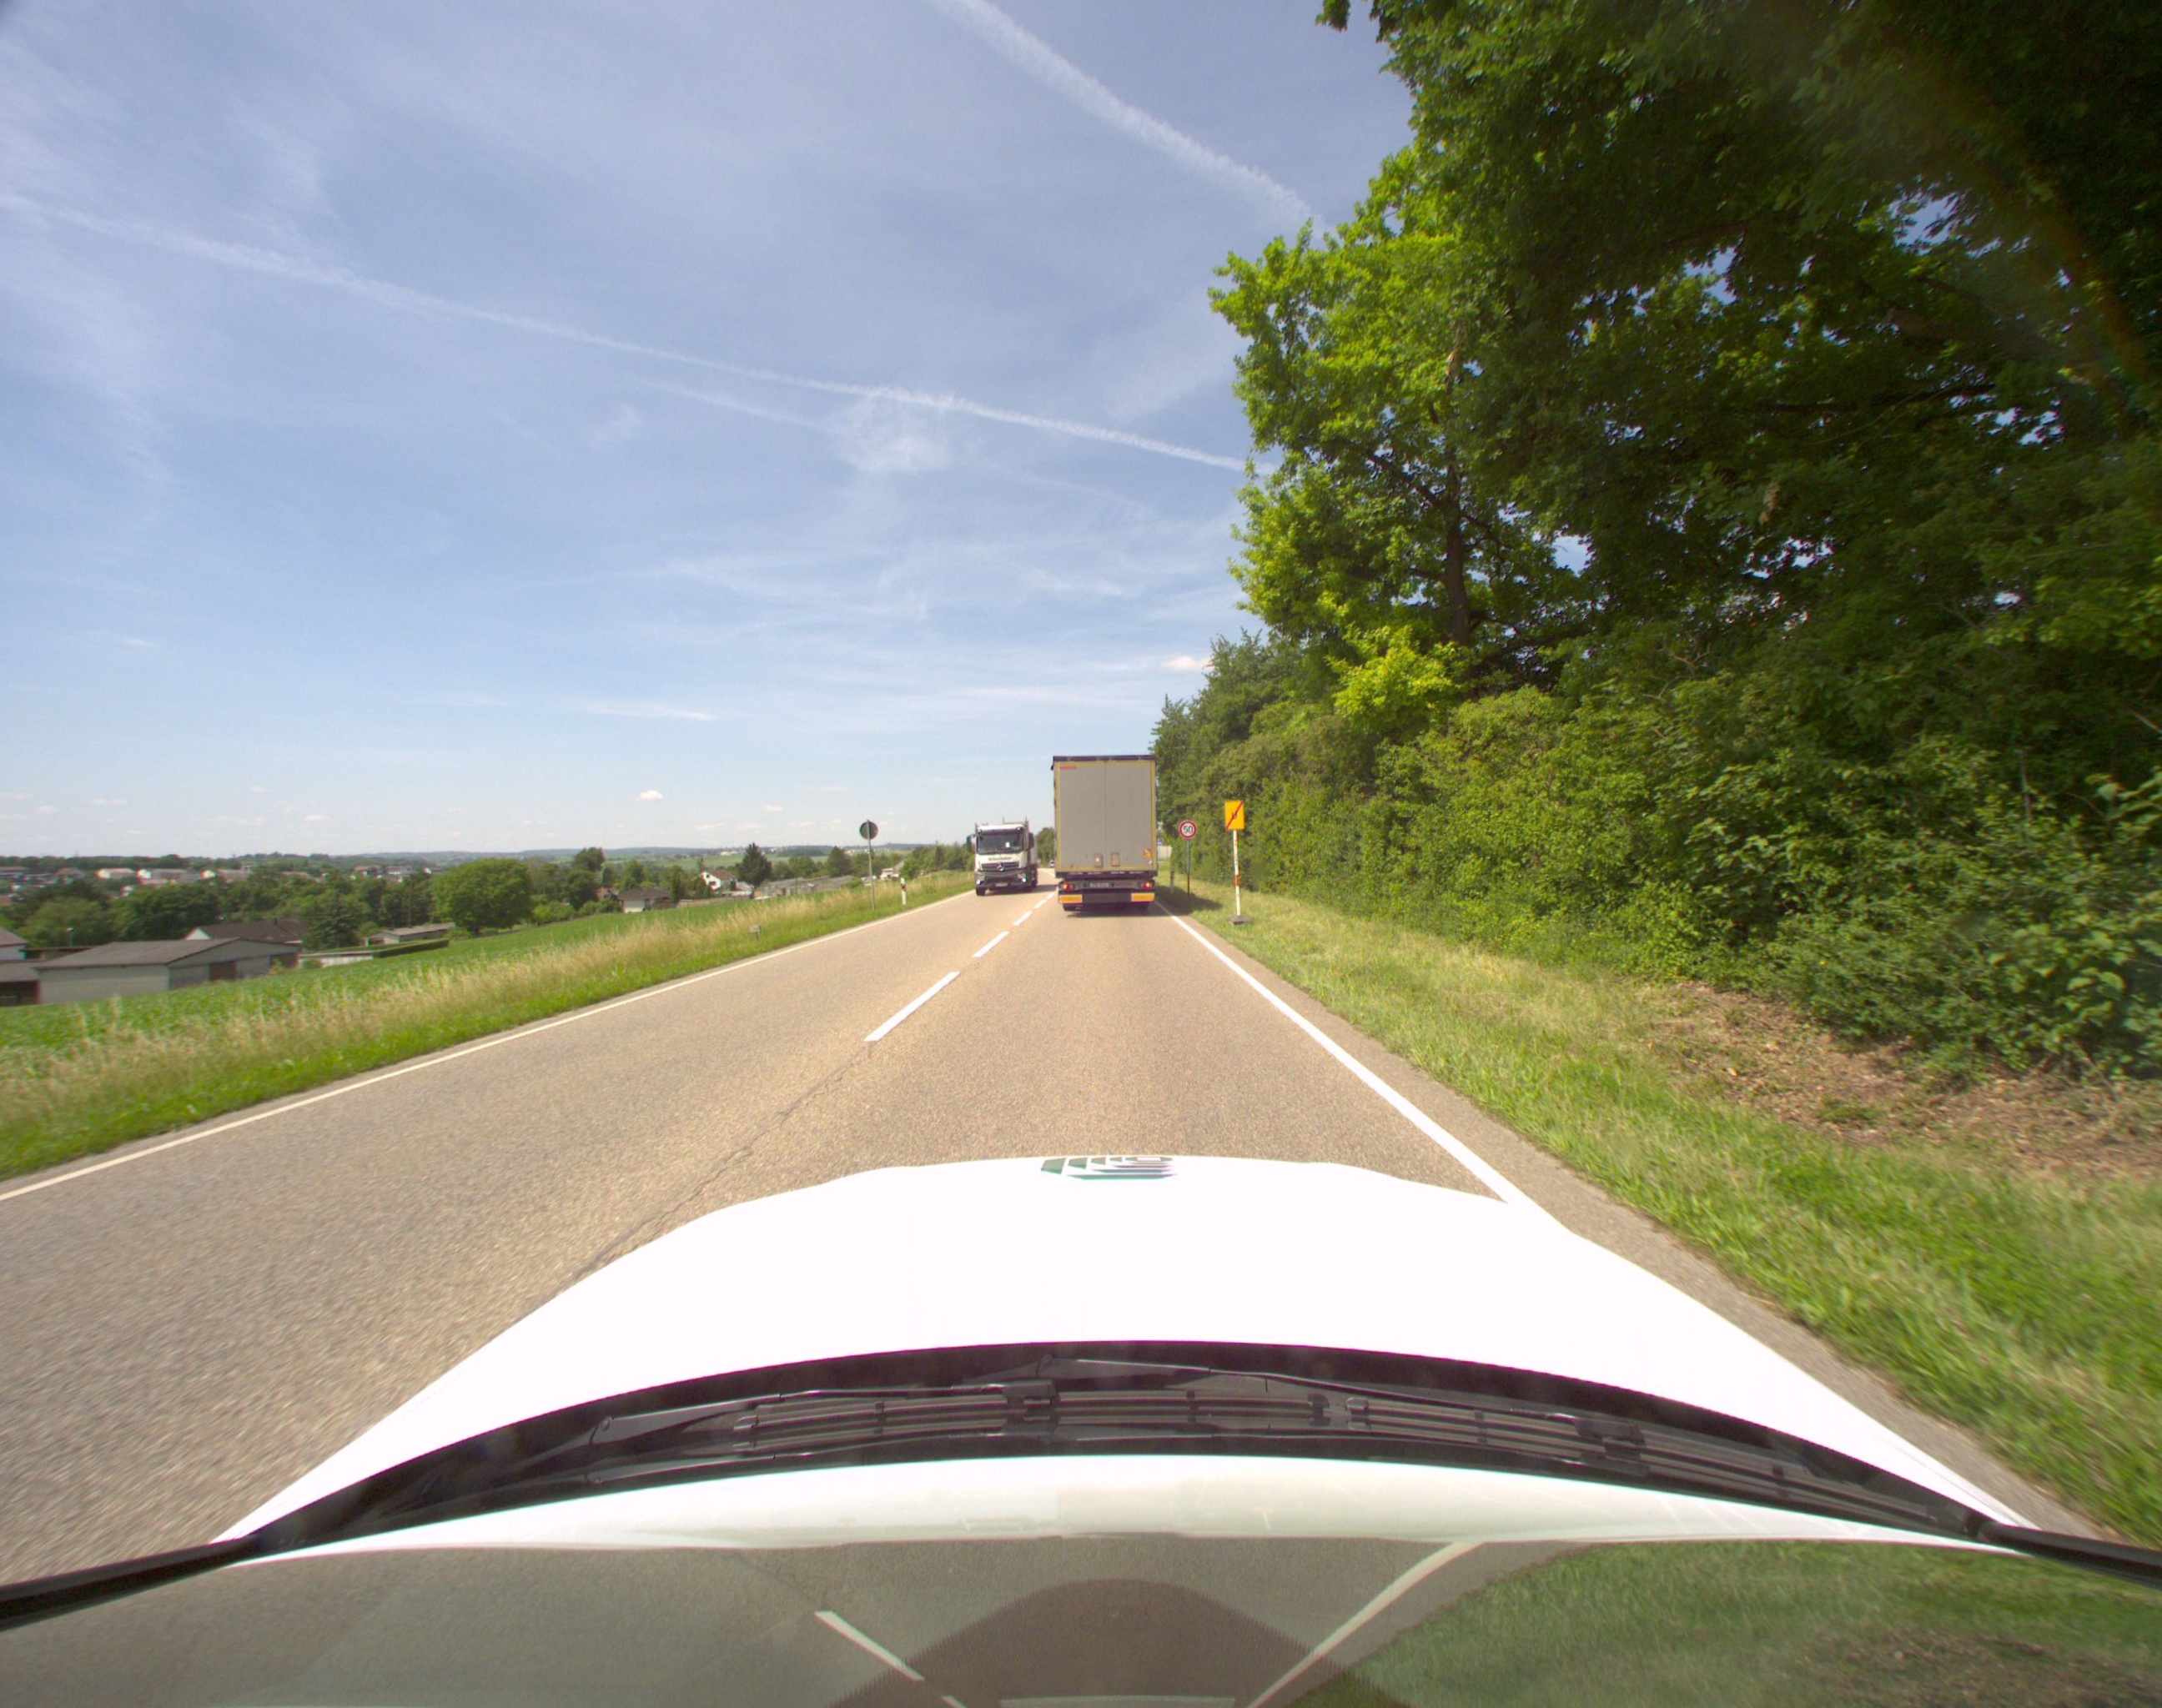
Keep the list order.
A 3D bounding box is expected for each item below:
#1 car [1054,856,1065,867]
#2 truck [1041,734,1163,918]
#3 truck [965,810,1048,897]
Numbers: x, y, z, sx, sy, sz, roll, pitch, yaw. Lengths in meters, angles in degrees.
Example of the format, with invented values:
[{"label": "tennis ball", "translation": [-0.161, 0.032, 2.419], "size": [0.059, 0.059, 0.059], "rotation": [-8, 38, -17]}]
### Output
[{"label": "car", "translation": [-4.604, 1.620, 176.335], "size": [2.166, 2.013, 4.521], "rotation": [-4, 0, -3]}, {"label": "truck", "translation": [0.504, -0.681, 24.177], "size": [2.898, 4.410, 8.858], "rotation": [-1, 0, 0]}, {"label": "truck", "translation": [-3.466, -0.012, 40.975], "size": [2.747, 3.576, 11.065], "rotation": [-4, 0, 1]}]
